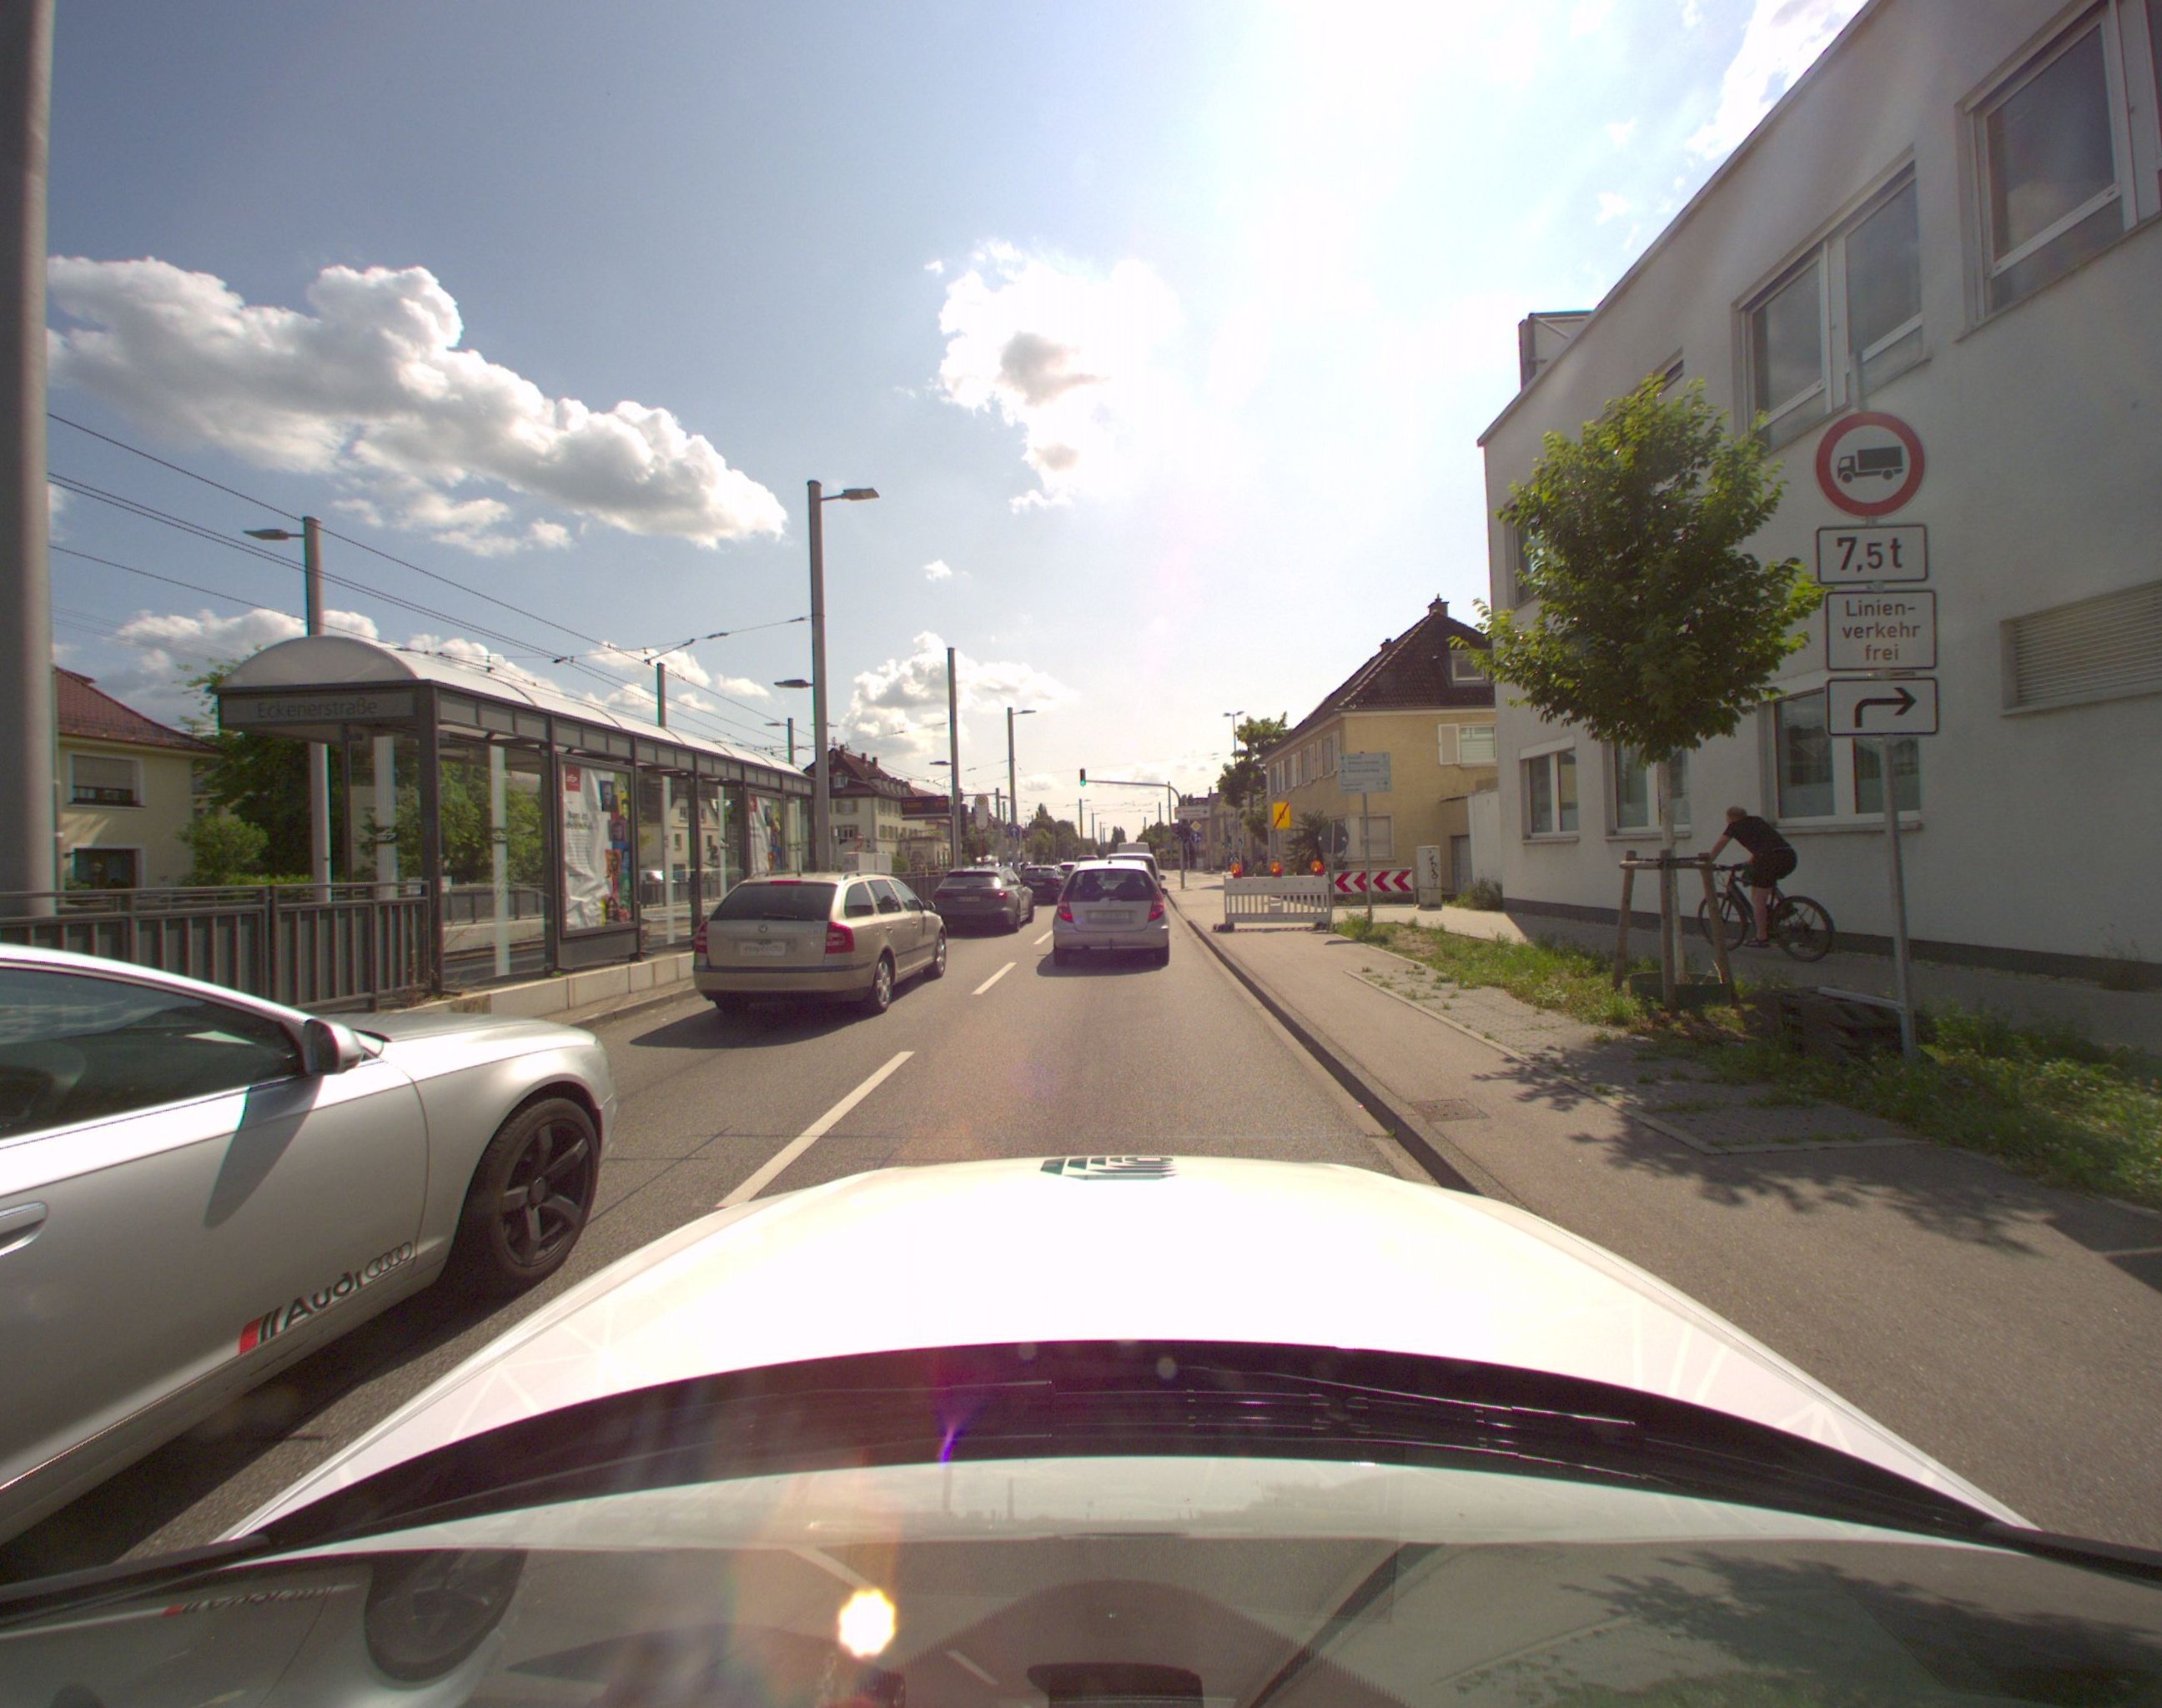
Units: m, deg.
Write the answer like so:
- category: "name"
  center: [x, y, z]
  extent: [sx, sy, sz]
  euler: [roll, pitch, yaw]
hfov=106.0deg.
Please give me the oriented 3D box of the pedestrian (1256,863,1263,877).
- category: "pedestrian"
  center: [14.579, 1.343, 66.570]
  extent: [0.485, 1.136, 0.390]
  euler: [-1, -1, 10]

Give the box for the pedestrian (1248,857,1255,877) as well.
- category: "pedestrian"
  center: [13.948, 1.086, 66.575]
  extent: [0.543, 1.643, 0.402]
  euler: [0, -1, 8]

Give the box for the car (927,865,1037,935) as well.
- category: "car"
  center: [-2.221, 0.999, 19.475]
  extent: [1.909, 1.477, 4.564]
  euler: [0, -1, 2]

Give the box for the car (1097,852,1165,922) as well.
- category: "car"
  center: [1.321, 0.871, 22.656]
  extent: [1.723, 1.762, 4.017]
  euler: [0, -1, 1]

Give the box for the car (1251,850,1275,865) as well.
- category: "car"
  center: [19.690, 0.427, 88.181]
  extent: [1.985, 1.596, 4.135]
  euler: [0, -1, 4]

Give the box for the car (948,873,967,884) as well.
- category: "car"
  center: [-14.827, 2.928, 98.002]
  extent: [1.679, 1.352, 4.344]
  euler: [0, -1, 0]

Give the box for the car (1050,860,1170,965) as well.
- category: "car"
  center: [0.476, 0.881, 13.809]
  extent: [1.723, 1.517, 4.017]
  euler: [0, -1, 1]

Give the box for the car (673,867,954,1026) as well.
- category: "car"
  center: [-2.779, 0.891, 9.523]
  extent: [1.724, 1.449, 4.126]
  euler: [0, -1, 3]

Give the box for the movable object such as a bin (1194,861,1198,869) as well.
- category: "movable object such as a bin"
  center: [14.800, 1.394, 104.927]
  extent: [0.466, 0.947, 0.558]
  euler: [-2, -1, 3]

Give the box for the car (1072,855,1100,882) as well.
- category: "car"
  center: [0.395, 1.020, 57.977]
  extent: [1.845, 1.843, 3.920]
  euler: [0, -1, 2]

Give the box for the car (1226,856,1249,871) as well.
- category: "car"
  center: [16.871, 1.057, 88.135]
  extent: [1.985, 1.596, 4.135]
  euler: [0, -1, 4]

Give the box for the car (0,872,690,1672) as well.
- category: "car"
  center: [-2.894, 0.785, 1.633]
  extent: [1.788, 1.472, 4.723]
  euler: [0, -1, 2]

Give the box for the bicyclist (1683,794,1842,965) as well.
- category: "bicyclist"
  center: [7.705, 0.277, 9.274]
  extent: [0.825, 1.794, 1.084]
  euler: [-3, 0, 1]

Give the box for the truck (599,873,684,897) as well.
- category: "truck"
  center: [-35.610, 2.490, 66.001]
  extent: [6.153, 1.922, 1.692]
  euler: [0, -1, 6]

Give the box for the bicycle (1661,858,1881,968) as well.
- category: "bicycle"
  center: [7.724, 0.606, 9.277]
  extent: [0.825, 1.075, 1.972]
  euler: [-3, 0, 2]

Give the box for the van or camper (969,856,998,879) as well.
- category: "van or camper"
  center: [-13.223, 1.861, 111.423]
  extent: [2.313, 2.930, 7.763]
  euler: [-3, -1, 4]

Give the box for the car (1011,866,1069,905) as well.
- category: "car"
  center: [-1.494, 1.163, 31.366]
  extent: [1.845, 1.388, 4.516]
  euler: [0, -1, 2]

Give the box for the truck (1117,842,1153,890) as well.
- category: "truck"
  center: [3.004, 0.672, 46.427]
  extent: [1.845, 2.552, 5.857]
  euler: [0, -1, 2]

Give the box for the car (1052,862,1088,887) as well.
- category: "car"
  center: [-0.581, 1.155, 46.495]
  extent: [1.845, 1.388, 3.920]
  euler: [0, -1, 2]
